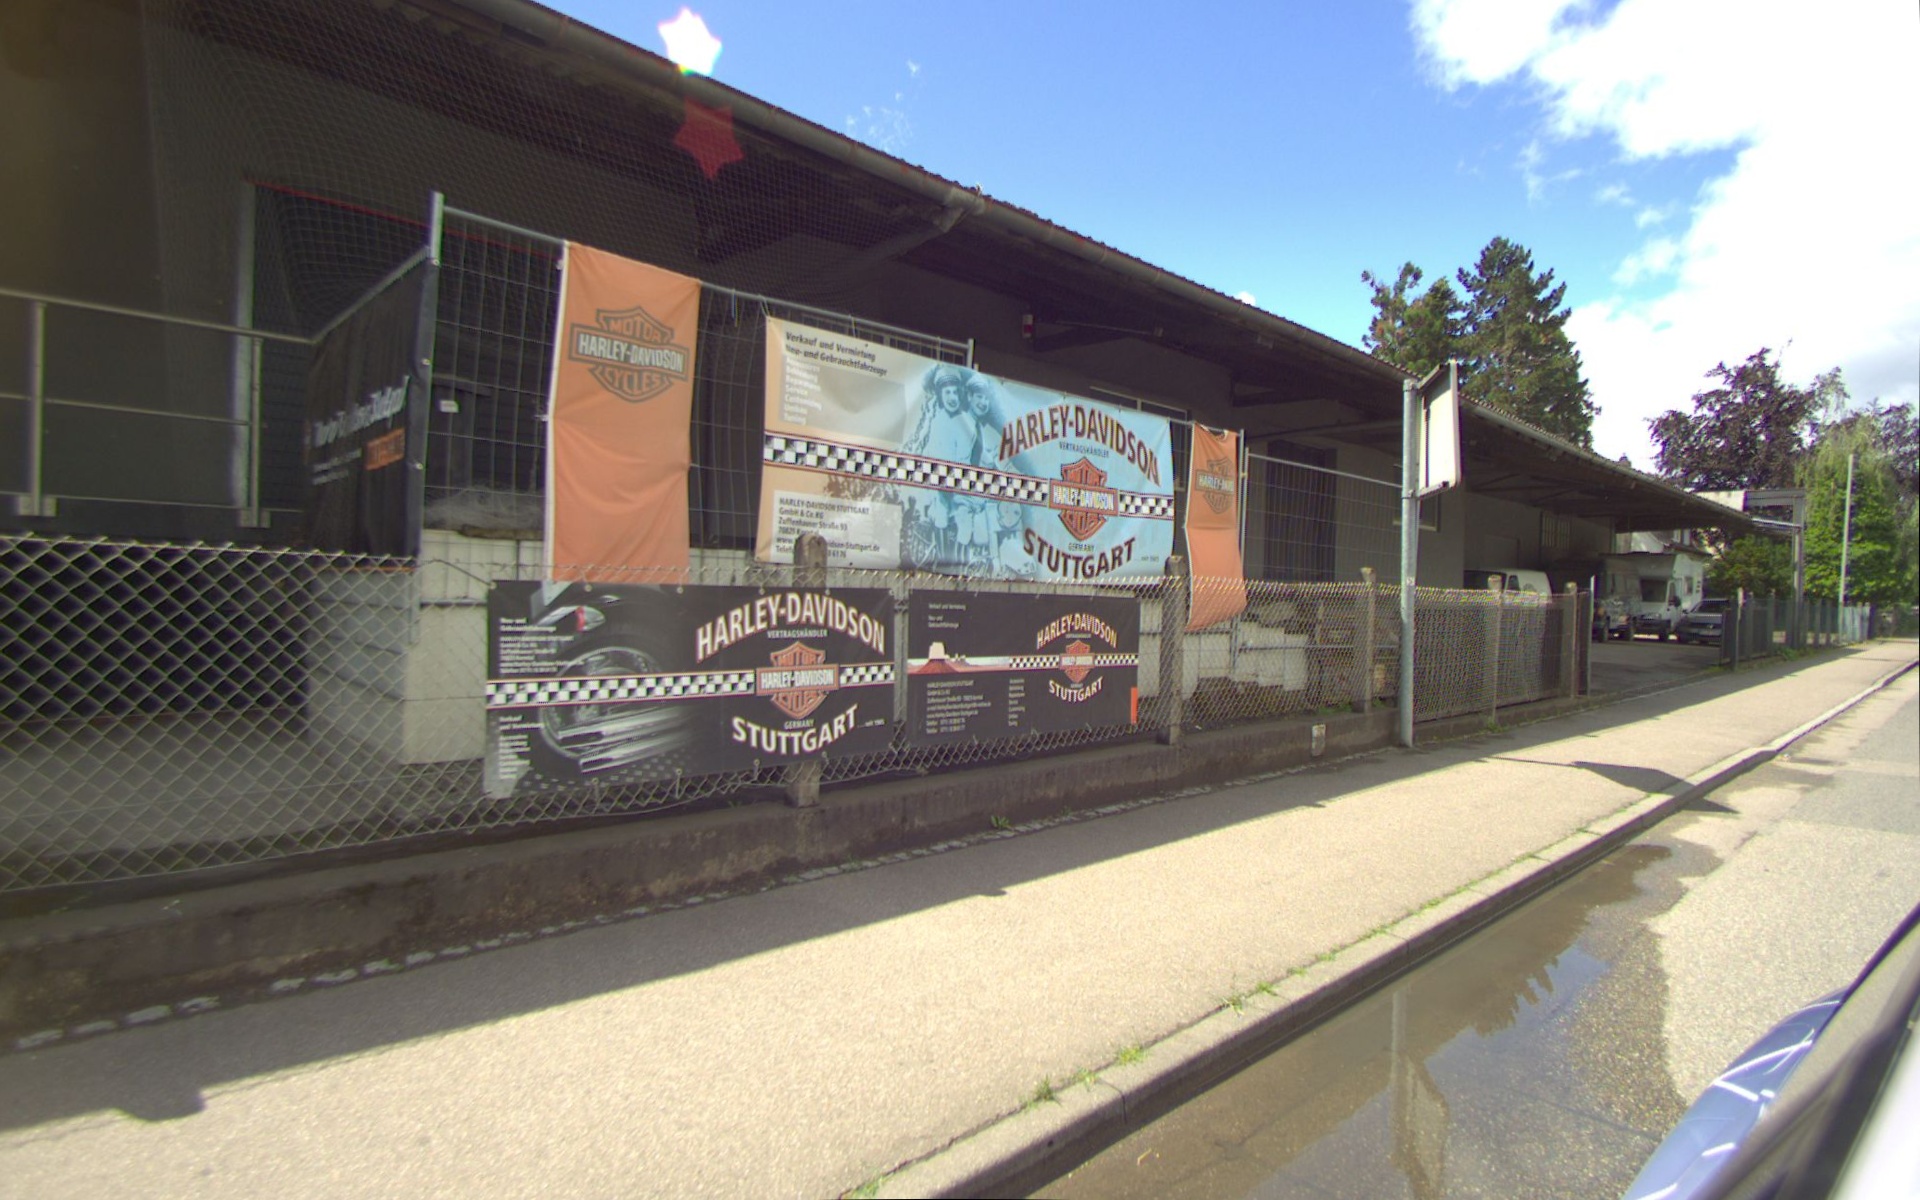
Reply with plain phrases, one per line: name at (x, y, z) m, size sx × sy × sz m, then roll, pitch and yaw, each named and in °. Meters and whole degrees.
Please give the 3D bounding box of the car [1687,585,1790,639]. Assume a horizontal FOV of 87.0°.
car at (23.923, 0.354, 31.030) m, size 4.843 × 1.508 × 1.766 m, roll 1°, pitch 0°, yaw -44°

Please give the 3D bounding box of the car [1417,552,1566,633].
car at (13.885, -0.174, 26.317) m, size 4.771 × 1.934 × 1.996 m, roll 1°, pitch 1°, yaw -44°

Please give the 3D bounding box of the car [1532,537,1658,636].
car at (19.205, -0.347, 30.487) m, size 2.019 × 2.715 × 5.407 m, roll 2°, pitch 0°, yaw 45°

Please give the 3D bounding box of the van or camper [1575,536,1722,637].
van or camper at (23.571, -0.452, 34.490) m, size 6.800 × 3.099 × 2.883 m, roll 0°, pitch 1°, yaw -45°
